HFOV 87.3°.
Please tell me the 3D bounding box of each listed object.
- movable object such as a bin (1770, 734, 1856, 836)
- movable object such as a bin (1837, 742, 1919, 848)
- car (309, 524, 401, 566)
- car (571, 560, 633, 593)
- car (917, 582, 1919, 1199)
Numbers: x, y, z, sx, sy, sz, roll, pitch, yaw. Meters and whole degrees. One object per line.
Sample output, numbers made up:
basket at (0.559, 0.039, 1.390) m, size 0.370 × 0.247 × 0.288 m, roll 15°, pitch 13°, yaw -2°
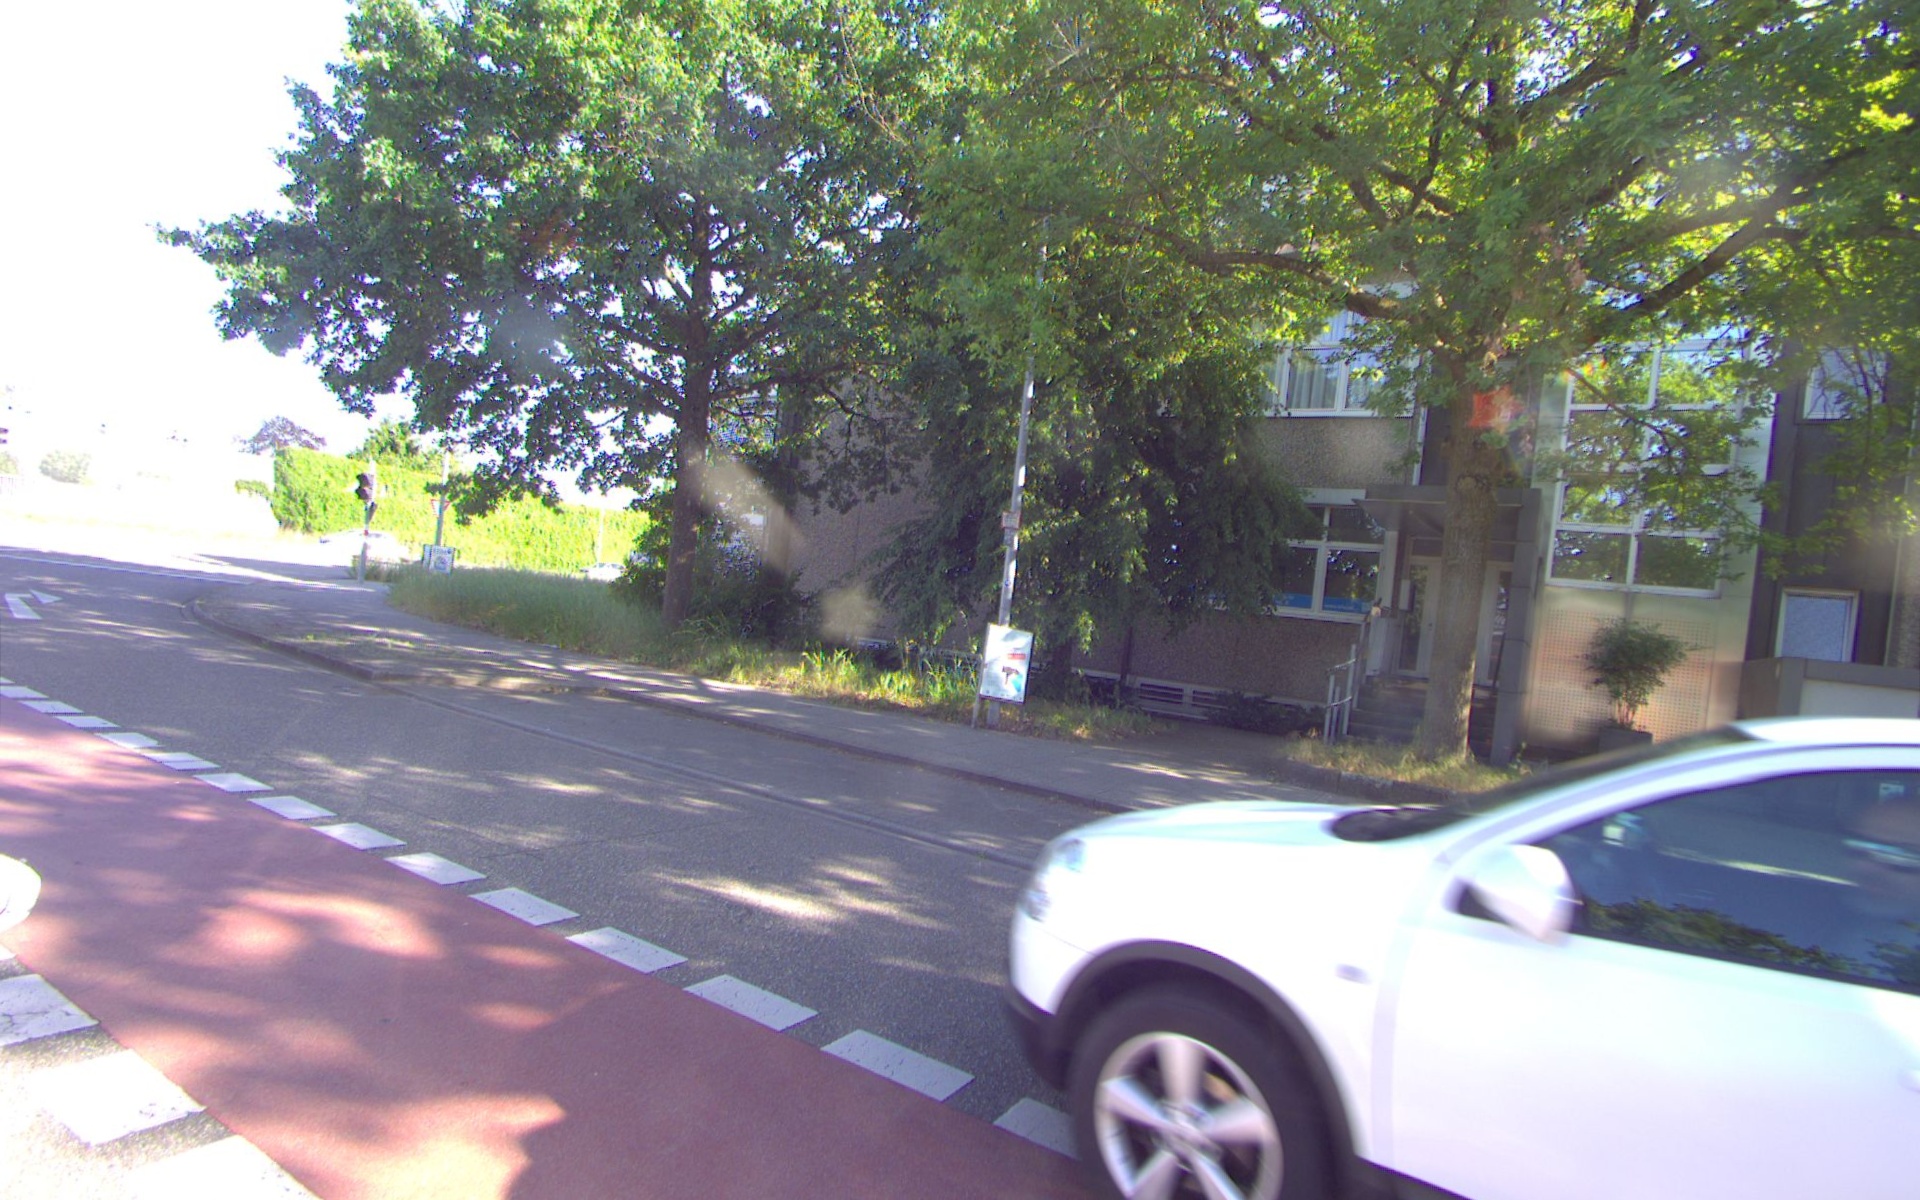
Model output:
movable object such as a bin at (10.171, 2.185, 12.013) m, size 0.575 × 1.070 × 0.625 m, roll 7°, pitch 0°, yaw 30°
movable object such as a bin at (10.760, 2.253, 11.720) m, size 0.605 × 1.075 × 0.634 m, roll 6°, pitch 0°, yaw 30°
car at (-32.754, -2.958, 54.572) m, size 1.677 × 1.631 × 3.820 m, roll 7°, pitch -2°, yaw 25°
car at (-26.612, -1.721, 74.941) m, size 1.889 × 1.836 × 4.000 m, roll 7°, pitch -2°, yaw 25°
car at (2.051, 1.025, 2.364) m, size 4.007 × 1.626 × 1.717 m, roll 7°, pitch -1°, yaw 38°
